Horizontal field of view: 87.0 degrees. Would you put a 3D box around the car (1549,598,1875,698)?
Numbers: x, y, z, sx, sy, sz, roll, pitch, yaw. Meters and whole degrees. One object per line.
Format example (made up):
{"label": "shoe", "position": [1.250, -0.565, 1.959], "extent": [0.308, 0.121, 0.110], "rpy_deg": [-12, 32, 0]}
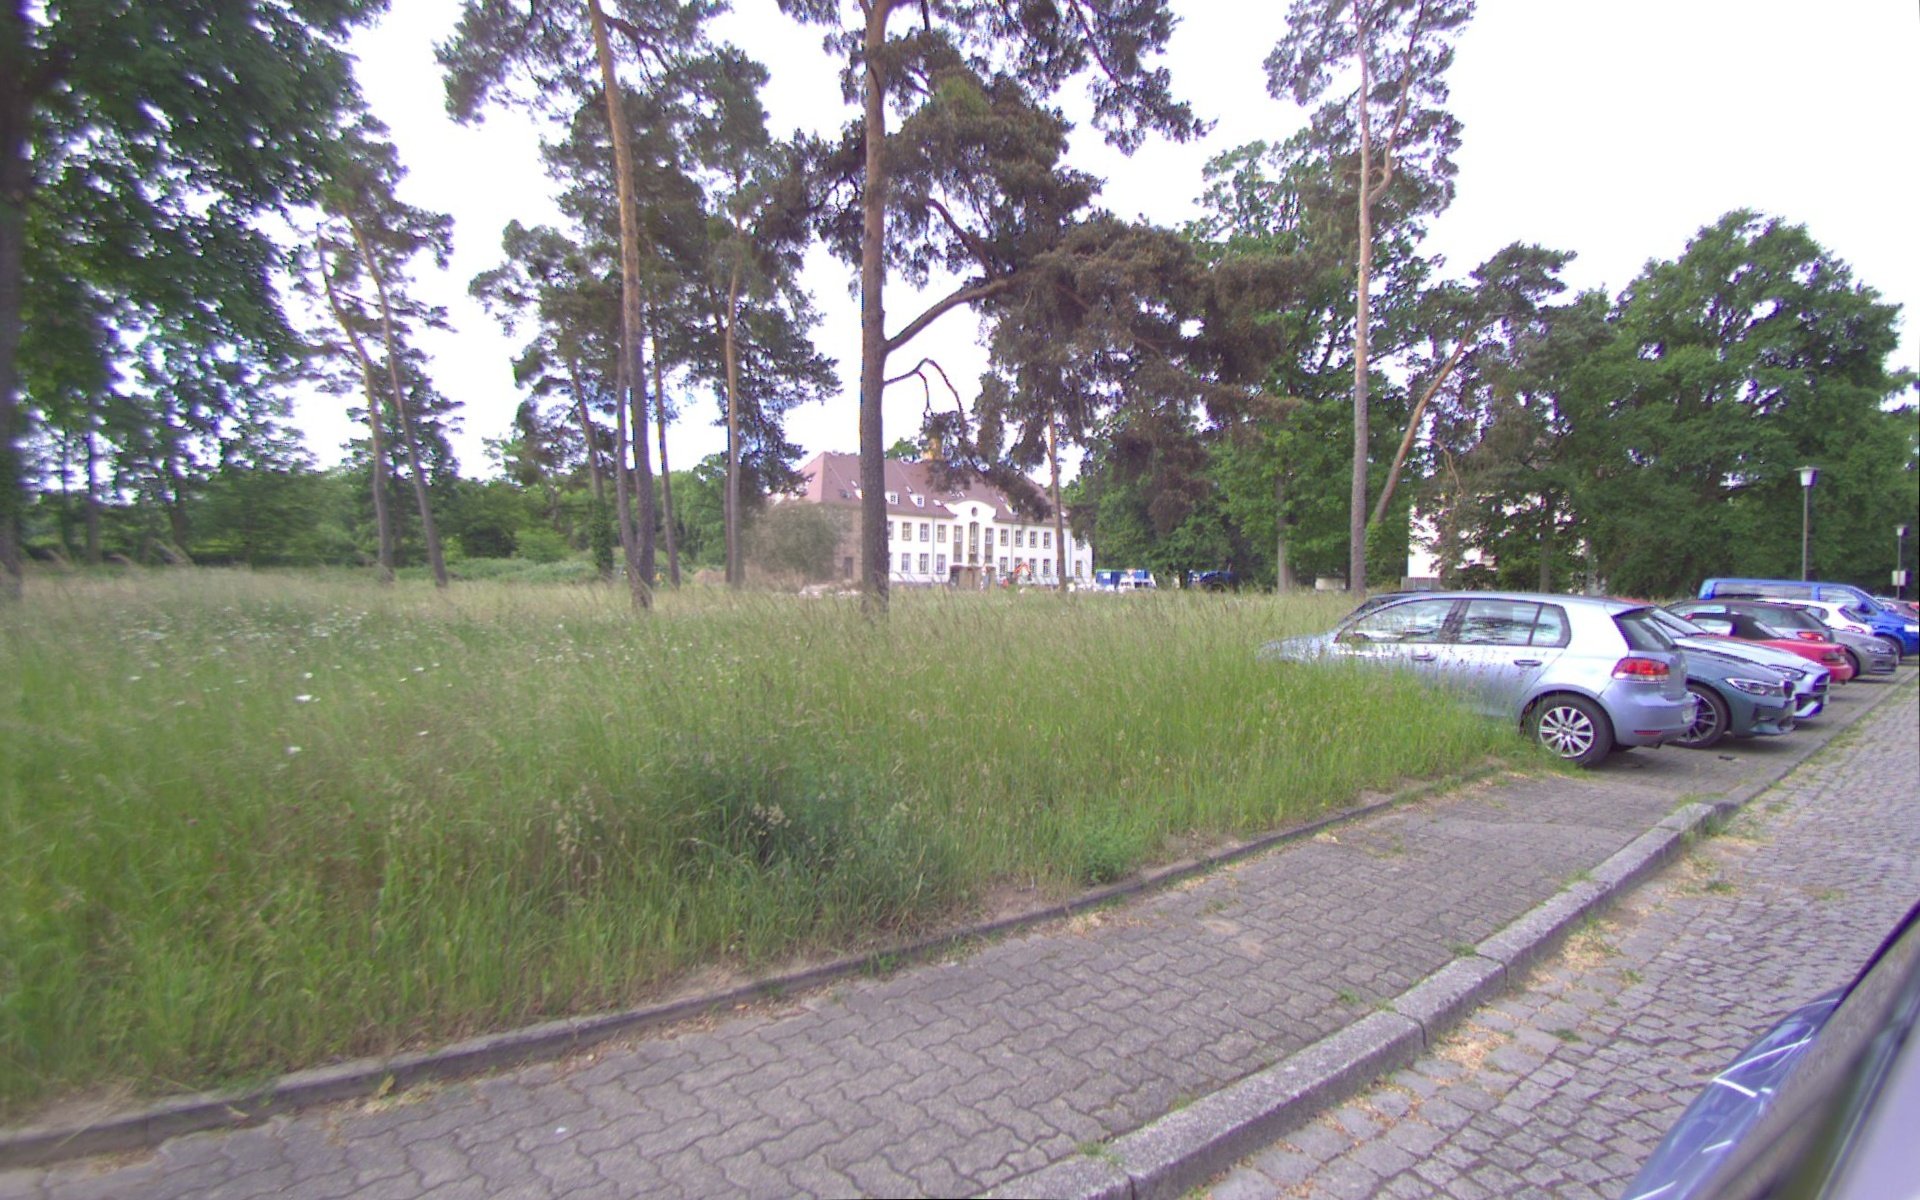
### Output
{"label": "car", "position": [12.157, 0.690, 16.579], "extent": [1.523, 1.255, 4.048], "rpy_deg": [0, 2, -42]}

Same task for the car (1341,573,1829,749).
{"label": "car", "position": [6.881, 0.524, 11.556], "extent": [1.636, 1.400, 4.434], "rpy_deg": [0, 4, -44]}

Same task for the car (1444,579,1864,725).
{"label": "car", "position": [8.916, 0.543, 13.329], "extent": [1.687, 1.491, 4.247], "rpy_deg": [0, 2, -40]}

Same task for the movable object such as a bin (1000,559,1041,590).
{"label": "movable object such as a bin", "position": [7.648, -3.238, 127.770], "extent": [2.016, 3.817, 5.459], "rpy_deg": [-1, 1, -39]}

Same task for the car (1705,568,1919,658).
{"label": "car", "position": [22.103, 0.254, 25.854], "extent": [1.878, 2.030, 4.601], "rpy_deg": [-1, 3, -40]}

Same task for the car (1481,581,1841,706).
{"label": "car", "position": [10.419, 0.537, 15.298], "extent": [1.688, 1.500, 4.181], "rpy_deg": [0, 2, -42]}

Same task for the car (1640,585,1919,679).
{"label": "car", "position": [16.212, 0.546, 20.146], "extent": [1.670, 1.535, 4.097], "rpy_deg": [0, 2, -40]}

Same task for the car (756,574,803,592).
{"label": "car", "position": [-19.788, -1.857, 110.829], "extent": [5.776, 1.985, 2.161], "rpy_deg": [1, 1, 44]}

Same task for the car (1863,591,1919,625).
{"label": "car", "position": [46.624, 0.409, 48.940], "extent": [1.693, 1.552, 4.098], "rpy_deg": [1, 2, -35]}

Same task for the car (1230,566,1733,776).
{"label": "car", "position": [4.888, 0.505, 9.910], "extent": [1.670, 1.446, 4.006], "rpy_deg": [0, 4, -44]}

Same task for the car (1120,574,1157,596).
{"label": "car", "position": [19.637, -1.670, 111.259], "extent": [4.372, 2.394, 1.859], "rpy_deg": [-1, 1, -43]}

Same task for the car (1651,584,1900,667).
{"label": "car", "position": [17.981, 0.489, 22.474], "extent": [1.572, 1.535, 4.050], "rpy_deg": [0, 2, -40]}

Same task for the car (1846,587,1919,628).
{"label": "car", "position": [43.134, 0.367, 45.928], "extent": [1.693, 1.715, 4.088], "rpy_deg": [1, 2, -35]}

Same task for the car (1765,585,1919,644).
{"label": "car", "position": [28.293, 0.425, 32.053], "extent": [1.625, 1.612, 4.083], "rpy_deg": [0, 2, -40]}

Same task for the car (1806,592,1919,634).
{"label": "car", "position": [35.557, 0.495, 39.138], "extent": [1.696, 1.462, 4.082], "rpy_deg": [0, 2, -41]}

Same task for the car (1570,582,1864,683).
{"label": "car", "position": [13.806, 0.509, 18.667], "extent": [1.572, 1.535, 4.050], "rpy_deg": [0, 2, -40]}
